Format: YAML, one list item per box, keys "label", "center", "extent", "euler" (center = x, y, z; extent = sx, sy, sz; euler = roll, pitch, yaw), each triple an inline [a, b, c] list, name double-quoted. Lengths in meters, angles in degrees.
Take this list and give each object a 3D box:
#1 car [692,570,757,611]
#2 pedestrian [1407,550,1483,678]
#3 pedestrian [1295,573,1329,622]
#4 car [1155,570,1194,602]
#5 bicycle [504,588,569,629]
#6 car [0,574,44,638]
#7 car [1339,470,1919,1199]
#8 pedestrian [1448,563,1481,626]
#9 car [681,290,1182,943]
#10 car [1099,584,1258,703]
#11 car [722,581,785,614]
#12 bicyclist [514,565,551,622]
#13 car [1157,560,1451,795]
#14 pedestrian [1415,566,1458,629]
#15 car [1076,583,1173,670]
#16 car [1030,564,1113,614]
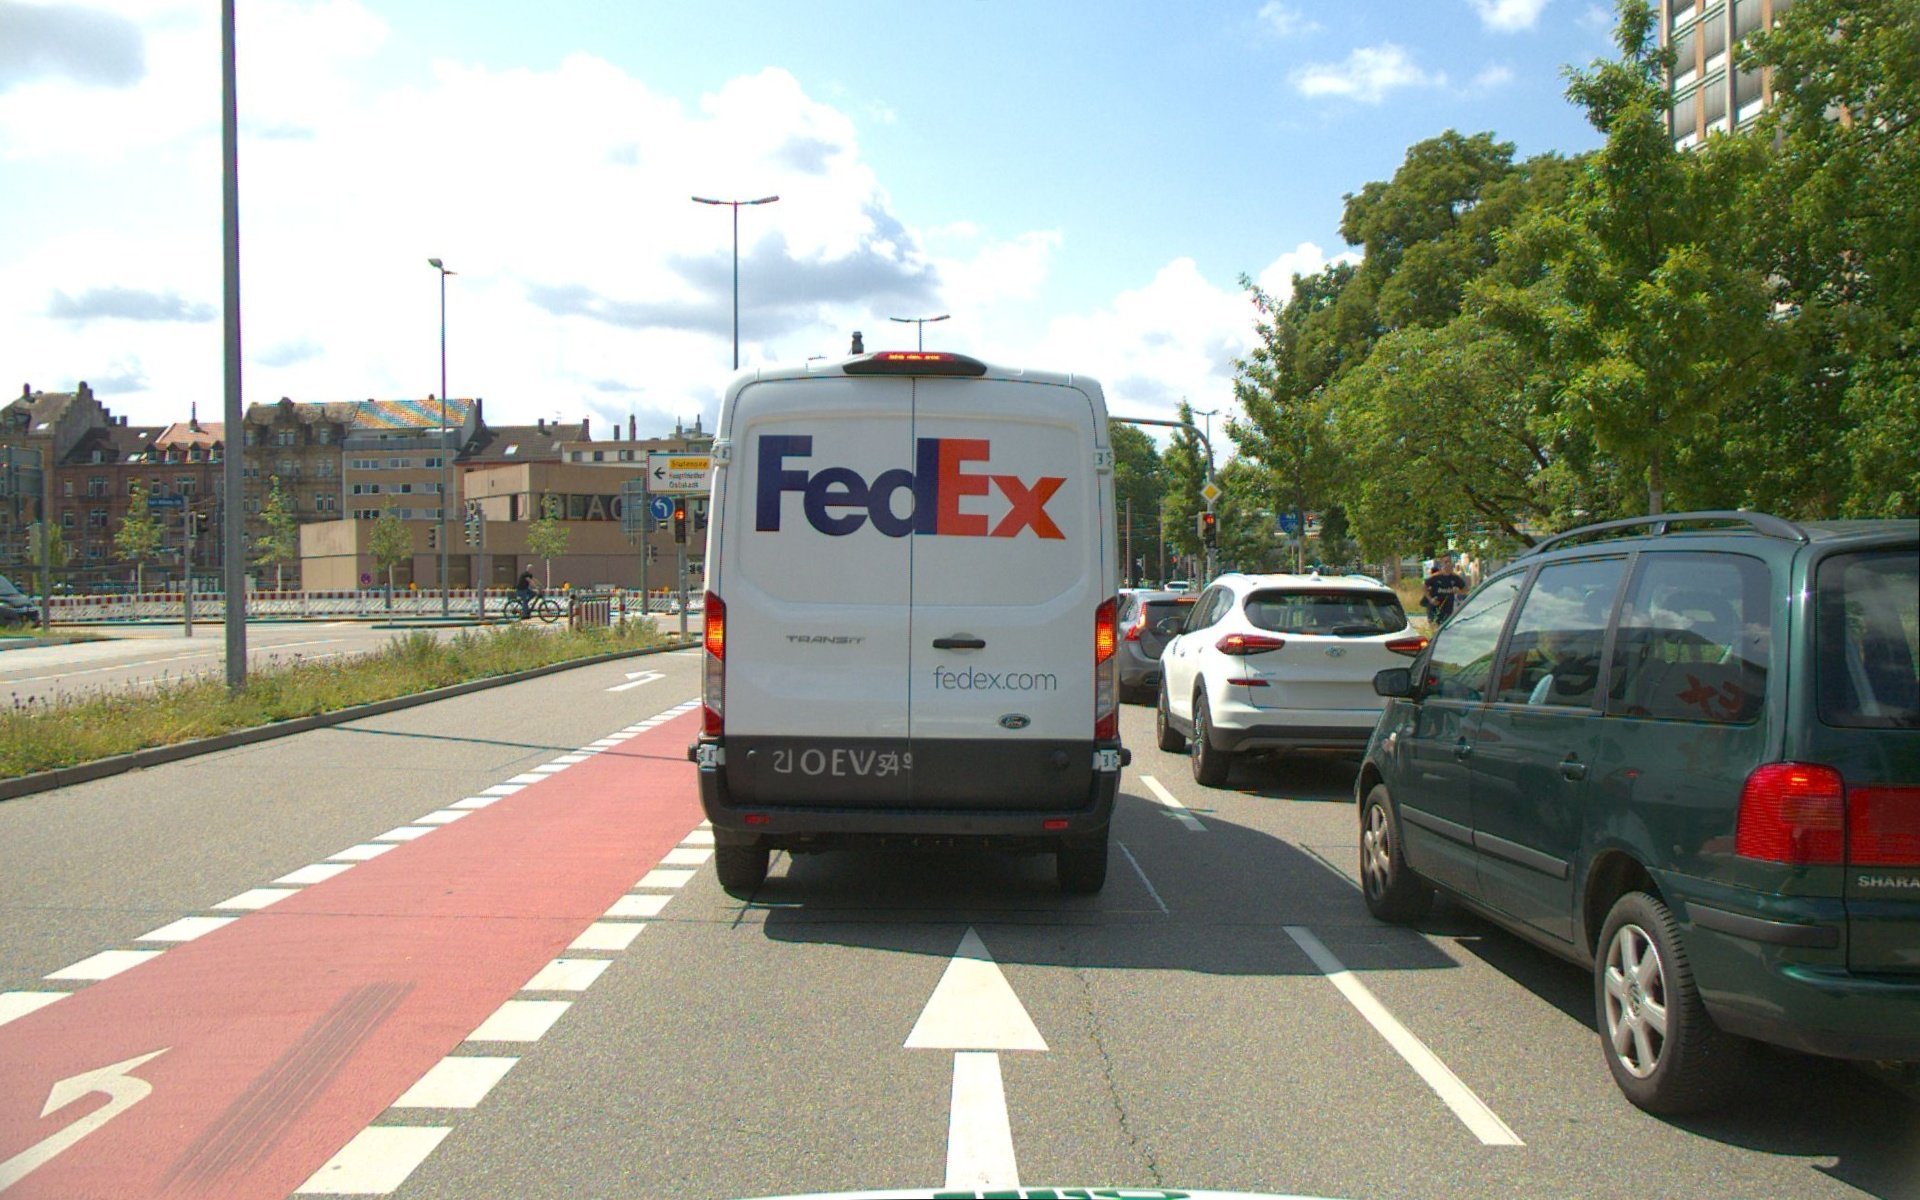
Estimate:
- label: "car"
  center: [-12.113, -0.462, 85.314]
  extent: [1.951, 2.049, 4.003]
  euler: [-1, 0, 14]
- label: "pedestrian"
  center: [7.441, 0.205, 25.430]
  extent: [0.931, 1.925, 0.773]
  euler: [0, 0, -1]
- label: "pedestrian"
  center: [10.265, -0.084, 48.272]
  extent: [0.827, 1.413, 0.741]
  euler: [0, 1, -1]
- label: "car"
  center: [12.702, -0.816, 97.709]
  extent: [1.951, 1.825, 4.375]
  euler: [-1, 0, 12]
- label: "bicycle"
  center: [-14.064, 0.283, 54.966]
  extent: [2.025, 1.312, 0.603]
  euler: [-1, 0, -8]
- label: "car"
  center: [-31.106, 0.189, 50.693]
  extent: [4.910, 1.911, 1.927]
  euler: [-1, 1, -4]
- label: "car"
  center: [2.837, 0.550, 6.158]
  extent: [1.775, 1.764, 4.388]
  euler: [0, 1, -1]
- label: "pedestrian"
  center: [16.855, -0.186, 55.250]
  extent: [0.727, 2.094, 0.843]
  euler: [-1, 1, -17]
- label: "car"
  center: [-0.337, 0.052, 9.772]
  extent: [2.098, 2.699, 5.698]
  euler: [0, 0, -5]
- label: "car"
  center: [2.931, 0.537, 22.877]
  extent: [1.760, 1.486, 3.839]
  euler: [0, 1, 1]
- label: "car"
  center: [-10.340, -0.124, 83.238]
  extent: [1.860, 1.613, 4.003]
  euler: [-1, 0, 13]
- label: "bicyclist"
  center: [-14.206, -0.218, 54.936]
  extent: [1.098, 1.877, 0.592]
  euler: [-1, 1, -8]
- label: "car"
  center: [2.771, 0.546, 14.186]
  extent: [1.760, 1.717, 4.001]
  euler: [0, 1, 1]
- label: "pedestrian"
  center: [12.012, -0.076, 41.682]
  extent: [0.827, 1.565, 0.835]
  euler: [0, 1, -1]
- label: "car"
  center: [2.894, 0.428, 29.565]
  extent: [1.454, 1.453, 3.433]
  euler: [0, 1, 1]
- label: "car"
  center: [4.825, -0.449, 70.820]
  extent: [2.051, 2.049, 4.641]
  euler: [-1, 0, 24]
